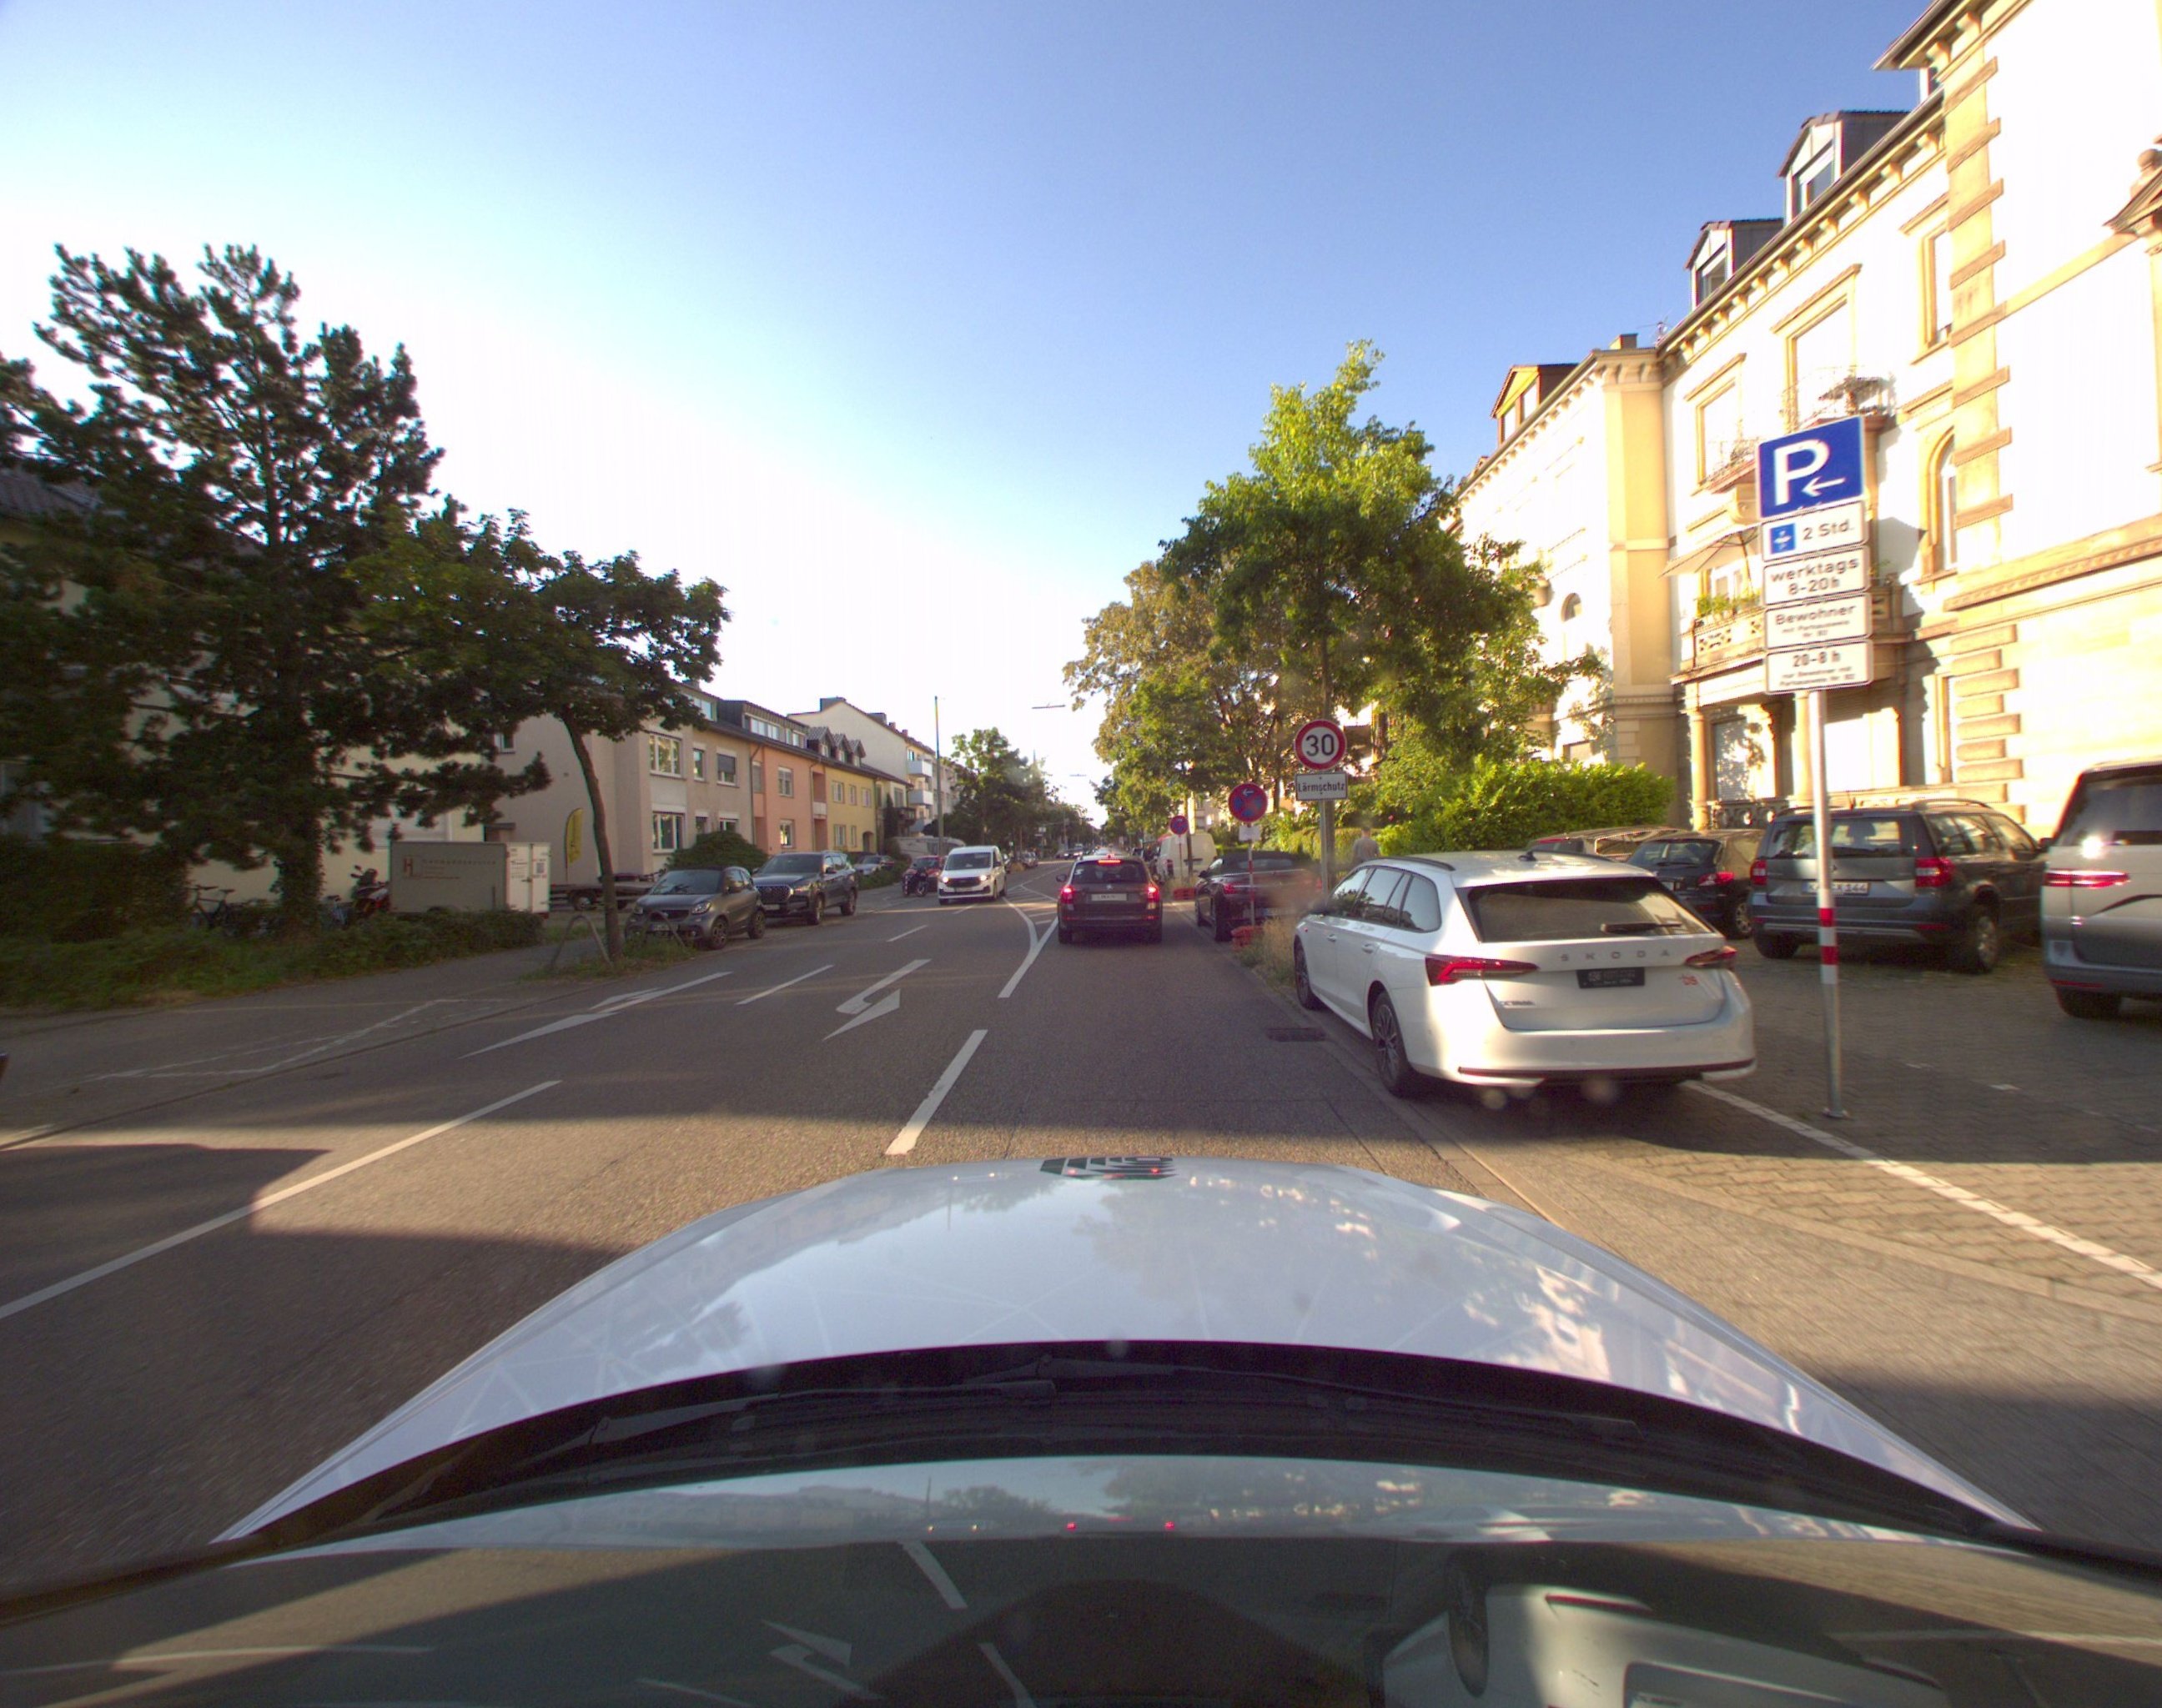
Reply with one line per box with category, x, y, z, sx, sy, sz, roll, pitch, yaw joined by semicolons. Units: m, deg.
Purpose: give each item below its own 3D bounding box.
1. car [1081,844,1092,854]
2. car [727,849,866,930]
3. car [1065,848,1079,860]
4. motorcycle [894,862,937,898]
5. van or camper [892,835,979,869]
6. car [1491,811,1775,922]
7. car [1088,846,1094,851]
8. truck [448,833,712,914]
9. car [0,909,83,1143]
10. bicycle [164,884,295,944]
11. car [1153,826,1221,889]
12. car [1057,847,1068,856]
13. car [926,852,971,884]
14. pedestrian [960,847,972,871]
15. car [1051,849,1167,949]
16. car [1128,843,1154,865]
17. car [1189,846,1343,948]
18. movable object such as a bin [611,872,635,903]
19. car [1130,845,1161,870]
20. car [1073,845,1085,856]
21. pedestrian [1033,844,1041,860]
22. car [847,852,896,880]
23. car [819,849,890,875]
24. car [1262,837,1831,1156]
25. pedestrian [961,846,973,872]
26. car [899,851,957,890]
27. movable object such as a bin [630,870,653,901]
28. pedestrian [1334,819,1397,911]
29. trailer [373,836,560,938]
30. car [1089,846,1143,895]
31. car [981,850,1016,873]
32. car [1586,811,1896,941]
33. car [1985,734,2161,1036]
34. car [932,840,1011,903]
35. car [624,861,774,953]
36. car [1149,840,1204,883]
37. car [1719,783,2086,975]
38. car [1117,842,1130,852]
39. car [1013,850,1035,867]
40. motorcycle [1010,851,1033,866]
car;1.199;-1.058;176.147;1.986;1.908;4.966;-4;0;1
car;-7.217;0.813;21.241;1.881;1.779;4.727;-2;0;0
car;-1.252;0.008;117.250;1.829;1.570;4.001;-4;0;1
motorcycle;-6.457;0.983;31.705;1.184;1.266;2.352;-3;0;-22
van or camper;-12.047;-0.161;67.740;6.774;2.772;2.352;0;0;0
car;9.539;0.157;14.121;4.248;1.510;1.782;-4;1;-17
car;2.981;-1.692;244.002;1.823;1.579;4.002;-2;0;2
truck;-15.643;0.580;25.723;6.869;2.185;2.277;-2;0;1
car;-7.538;1.123;3.206;1.631;1.407;4.445;-2;0;1
bicycle;-17.679;1.209;16.986;0.517;1.063;2.047;-2;0;1
car;3.862;0.111;30.452;1.897;2.103;4.640;-2;0;0
car;-3.125;-0.397;137.588;1.517;1.457;3.587;-2;0;2
car;-6.733;0.675;41.734;1.587;1.523;3.891;-2;0;1
pedestrian;-8.635;0.365;60.941;0.710;1.792;0.572;-2;0;4
car;0.484;0.676;14.671;1.766;1.489;4.312;-1;1;1
car;4.885;-0.016;66.662;1.849;1.581;4.015;-4;0;1
car;3.112;0.628;14.683;1.751;1.420;4.616;-4;0;1
movable object such as a bin;-16.731;1.212;29.760;0.487;1.090;0.586;-2;0;2
car;4.240;0.197;54.067;1.702;1.480;4.270;-4;0;1
car;-0.273;-0.598;139.079;1.799;1.804;4.747;-4;0;1
pedestrian;-5.463;-0.216;100.818;0.777;1.987;0.821;-2;0;2
car;-12.121;0.662;47.336;1.658;1.409;3.756;-3;1;3
car;-14.574;0.526;52.566;3.971;1.636;1.867;0;0;2
car;2.741;0.666;6.222;1.814;1.477;4.624;-2;0;2
pedestrian;-8.058;0.371;57.641;0.710;1.792;0.506;-2;0;4
car;-6.626;0.690;35.566;1.585;1.523;3.441;-2;0;4
movable object such as a bin;-16.088;1.133;29.824;0.487;1.090;0.586;-2;0;2
pedestrian;5.777;0.213;16.583;0.818;1.773;1.088;-2;0;-2
trailer;-13.292;0.680;17.742;2.765;2.013;1.552;-2;0;-1
car;1.184;0.514;28.001;1.730;1.571;4.002;0;1;2
car;-5.875;0.507;58.269;1.860;1.494;4.520;0;1;2
car;9.602;0.244;11.846;4.103;1.441;1.704;-4;1;-22
car;9.137;0.106;5.851;4.942;1.899;1.907;-2;0;-21
car;-3.558;0.510;27.251;1.882;1.803;4.431;-4;0;0
car;-7.400;0.966;16.032;1.567;1.555;2.750;-2;0;0
car;4.014;0.289;34.920;1.849;1.603;4.313;-5;0;1
car;9.233;0.151;9.112;4.111;1.699;1.771;-3;0;-28
car;7.418;-1.168;141.620;1.984;1.772;4.005;0;1;5
car;-5.248;0.374;75.215;1.587;1.470;3.805;0;1;2
motorcycle;-5.245;0.424;71.504;2.028;1.265;0.772;-2;0;40
